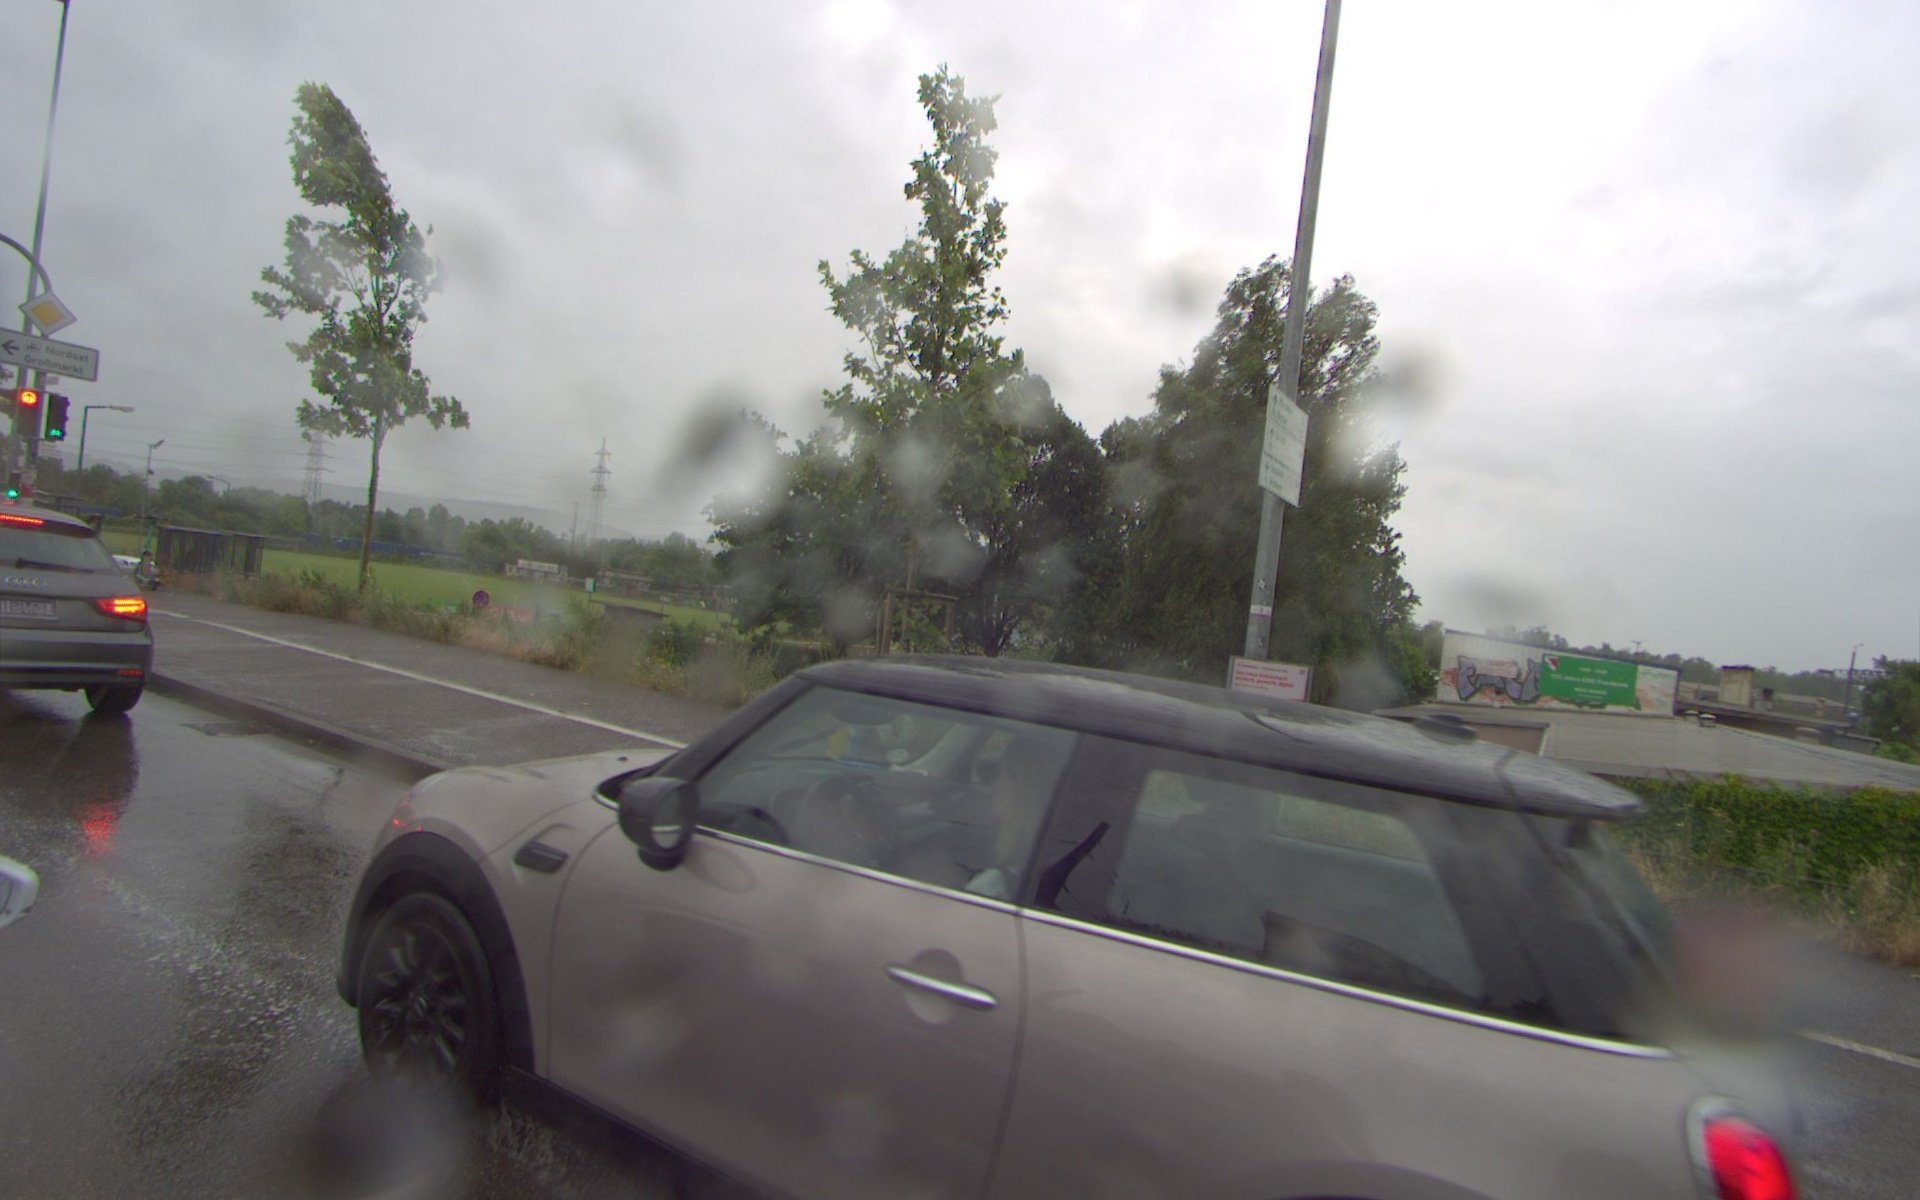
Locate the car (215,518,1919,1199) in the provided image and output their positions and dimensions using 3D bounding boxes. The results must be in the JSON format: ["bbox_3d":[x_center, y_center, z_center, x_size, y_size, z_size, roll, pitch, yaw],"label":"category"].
[{"bbox_3d":[-0.058,0.804,2.740,3.814,1.525,1.706,7,-2,31],"label":"car"}]

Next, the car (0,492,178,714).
[{"bbox_3d":[-7.472,-0.110,7.240,3.569,1.383,1.600,5,-1,30],"label":"car"}]

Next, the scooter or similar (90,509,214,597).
[{"bbox_3d":[-13.881,-0.829,17.237,2.971,1.226,0.691,7,0,33],"label":"scooter or similar"}]
